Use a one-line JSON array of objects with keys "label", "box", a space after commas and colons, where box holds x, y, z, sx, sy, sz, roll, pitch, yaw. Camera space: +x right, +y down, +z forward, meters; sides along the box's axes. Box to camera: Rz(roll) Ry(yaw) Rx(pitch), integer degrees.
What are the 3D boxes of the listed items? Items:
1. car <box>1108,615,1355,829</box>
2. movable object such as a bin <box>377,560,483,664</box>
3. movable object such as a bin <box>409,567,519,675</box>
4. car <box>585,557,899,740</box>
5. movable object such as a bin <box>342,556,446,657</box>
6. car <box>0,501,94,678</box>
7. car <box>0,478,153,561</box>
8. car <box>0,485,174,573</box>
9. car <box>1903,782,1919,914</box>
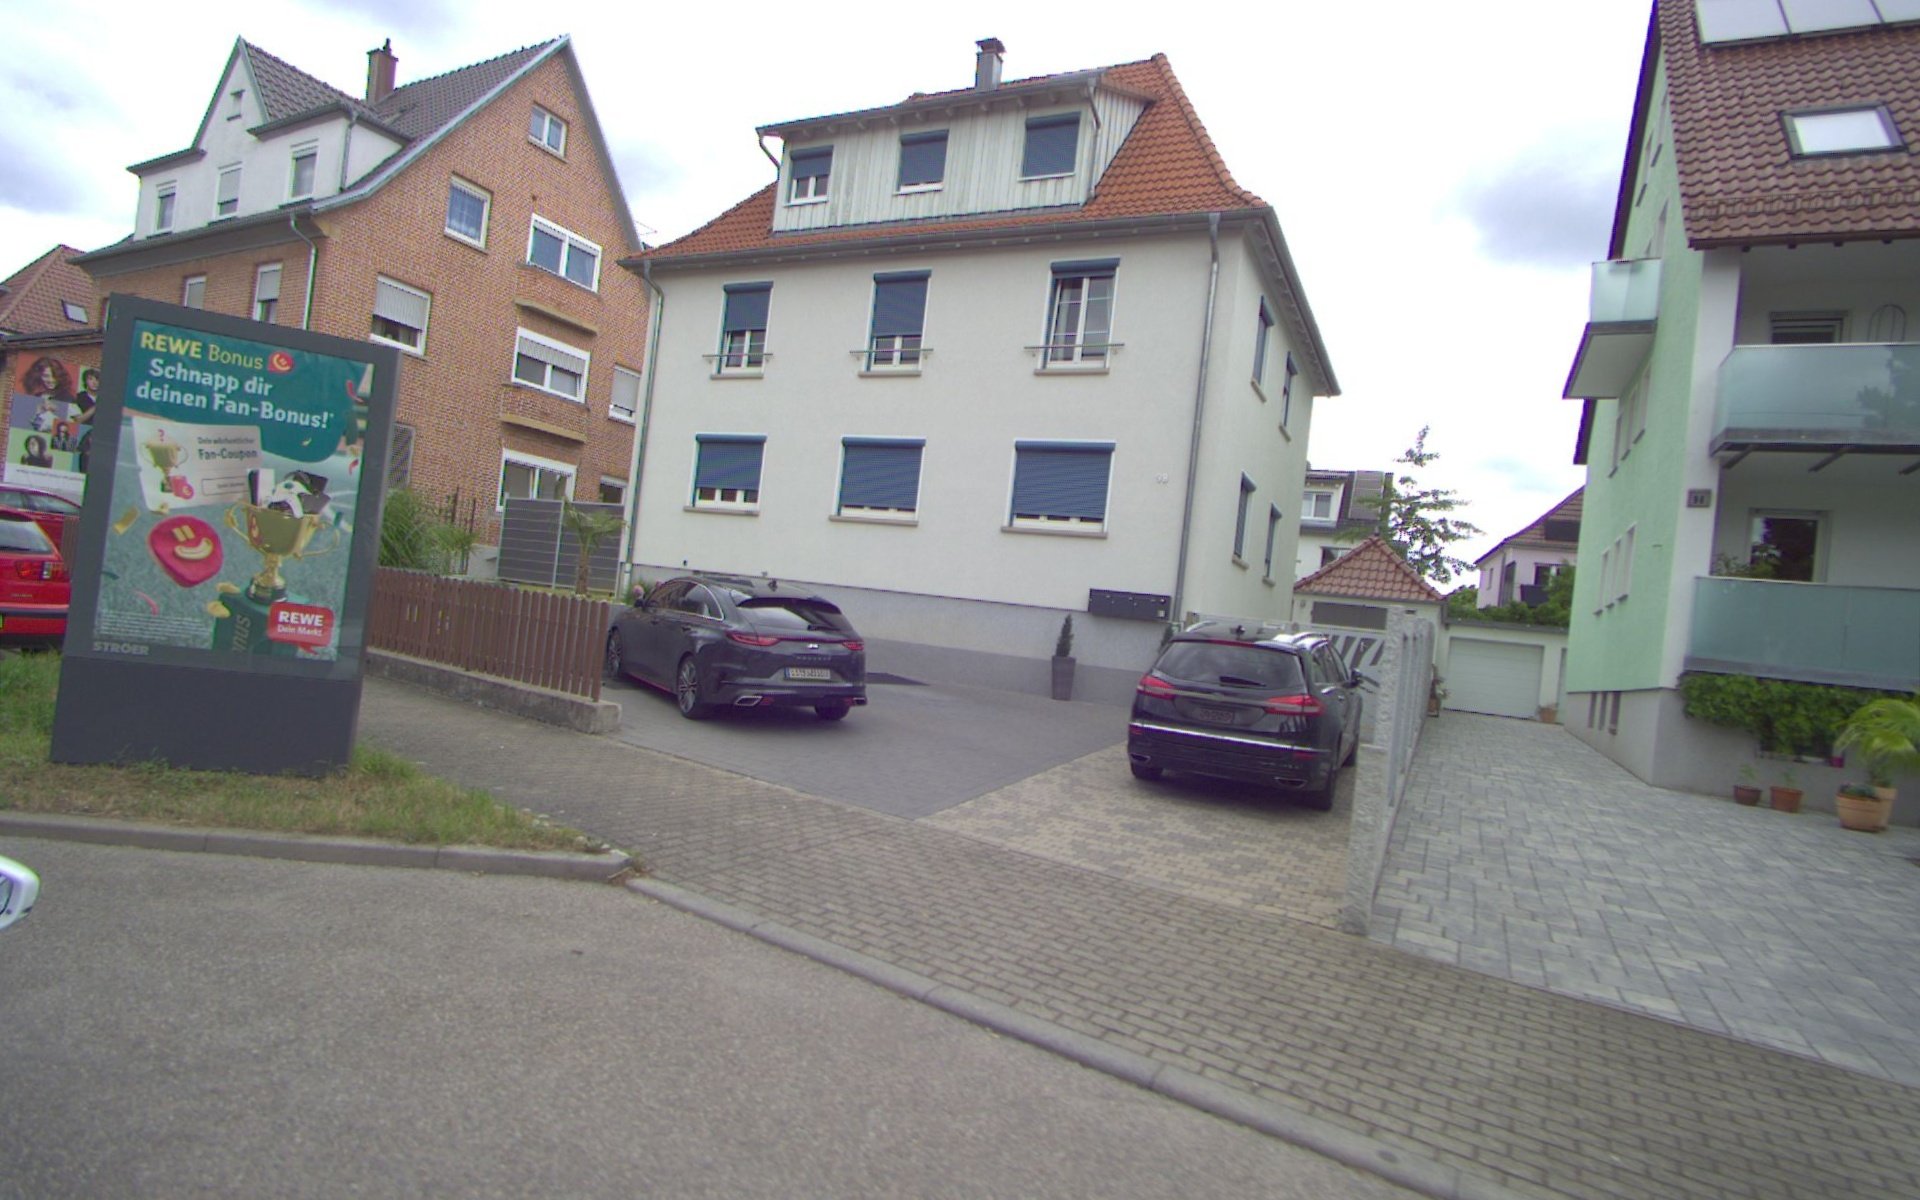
[{"label": "car", "box": [2.921, 1.004, 10.090, 1.664, 1.525, 4.268, 5, 1, 24]}, {"label": "movable object such as a bin", "box": [-6.314, 0.156, 12.001, 0.680, 1.117, 0.777, 7, 0, 30]}, {"label": "movable object such as a bin", "box": [-5.703, 0.253, 11.584, 0.680, 1.117, 0.777, 7, 0, 30]}, {"label": "car", "box": [-2.682, 0.407, 11.429, 1.806, 1.400, 4.434, 3, 4, -36]}, {"label": "movable object such as a bin", "box": [-6.946, 0.093, 12.355, 0.680, 1.117, 0.777, 7, 0, 30]}, {"label": "car", "box": [-9.449, -0.271, 8.942, 3.608, 1.410, 1.664, 7, 0, 33]}, {"label": "car", "box": [-20.808, -1.852, 22.508, 1.476, 1.580, 3.994, 7, 2, 25]}, {"label": "car", "box": [-18.513, -1.471, 20.103, 1.777, 1.516, 3.995, 7, 1, 23]}, {"label": "car", "box": [9.219, 1.469, 6.151, 4.634, 2.041, 1.977, 5, 2, 5]}]
